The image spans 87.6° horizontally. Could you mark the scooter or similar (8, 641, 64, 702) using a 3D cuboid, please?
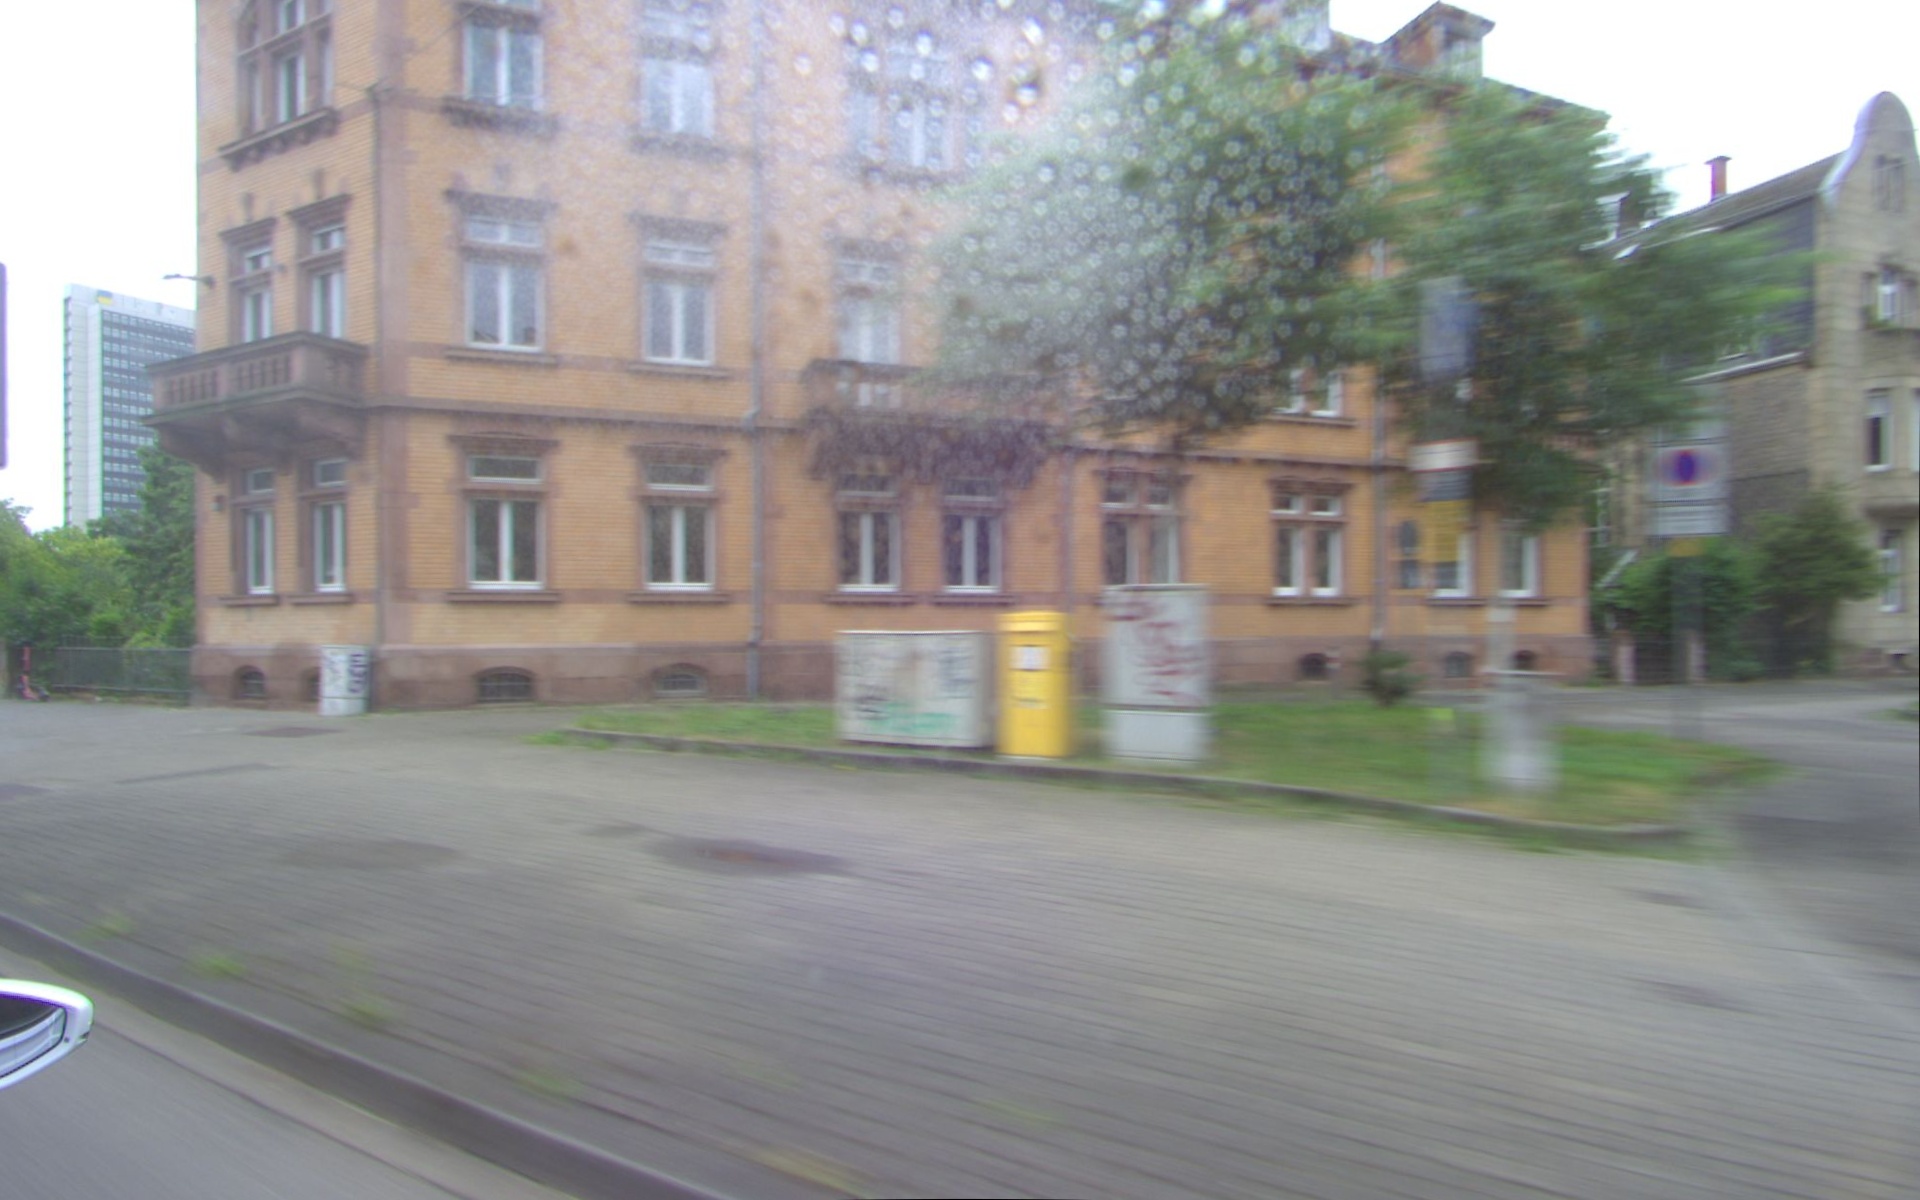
[{"bbox_3d":[-17.950,1.371,19.452,1.179,1.156,0.376,-1,0,24],"label":"scooter or similar"}]
